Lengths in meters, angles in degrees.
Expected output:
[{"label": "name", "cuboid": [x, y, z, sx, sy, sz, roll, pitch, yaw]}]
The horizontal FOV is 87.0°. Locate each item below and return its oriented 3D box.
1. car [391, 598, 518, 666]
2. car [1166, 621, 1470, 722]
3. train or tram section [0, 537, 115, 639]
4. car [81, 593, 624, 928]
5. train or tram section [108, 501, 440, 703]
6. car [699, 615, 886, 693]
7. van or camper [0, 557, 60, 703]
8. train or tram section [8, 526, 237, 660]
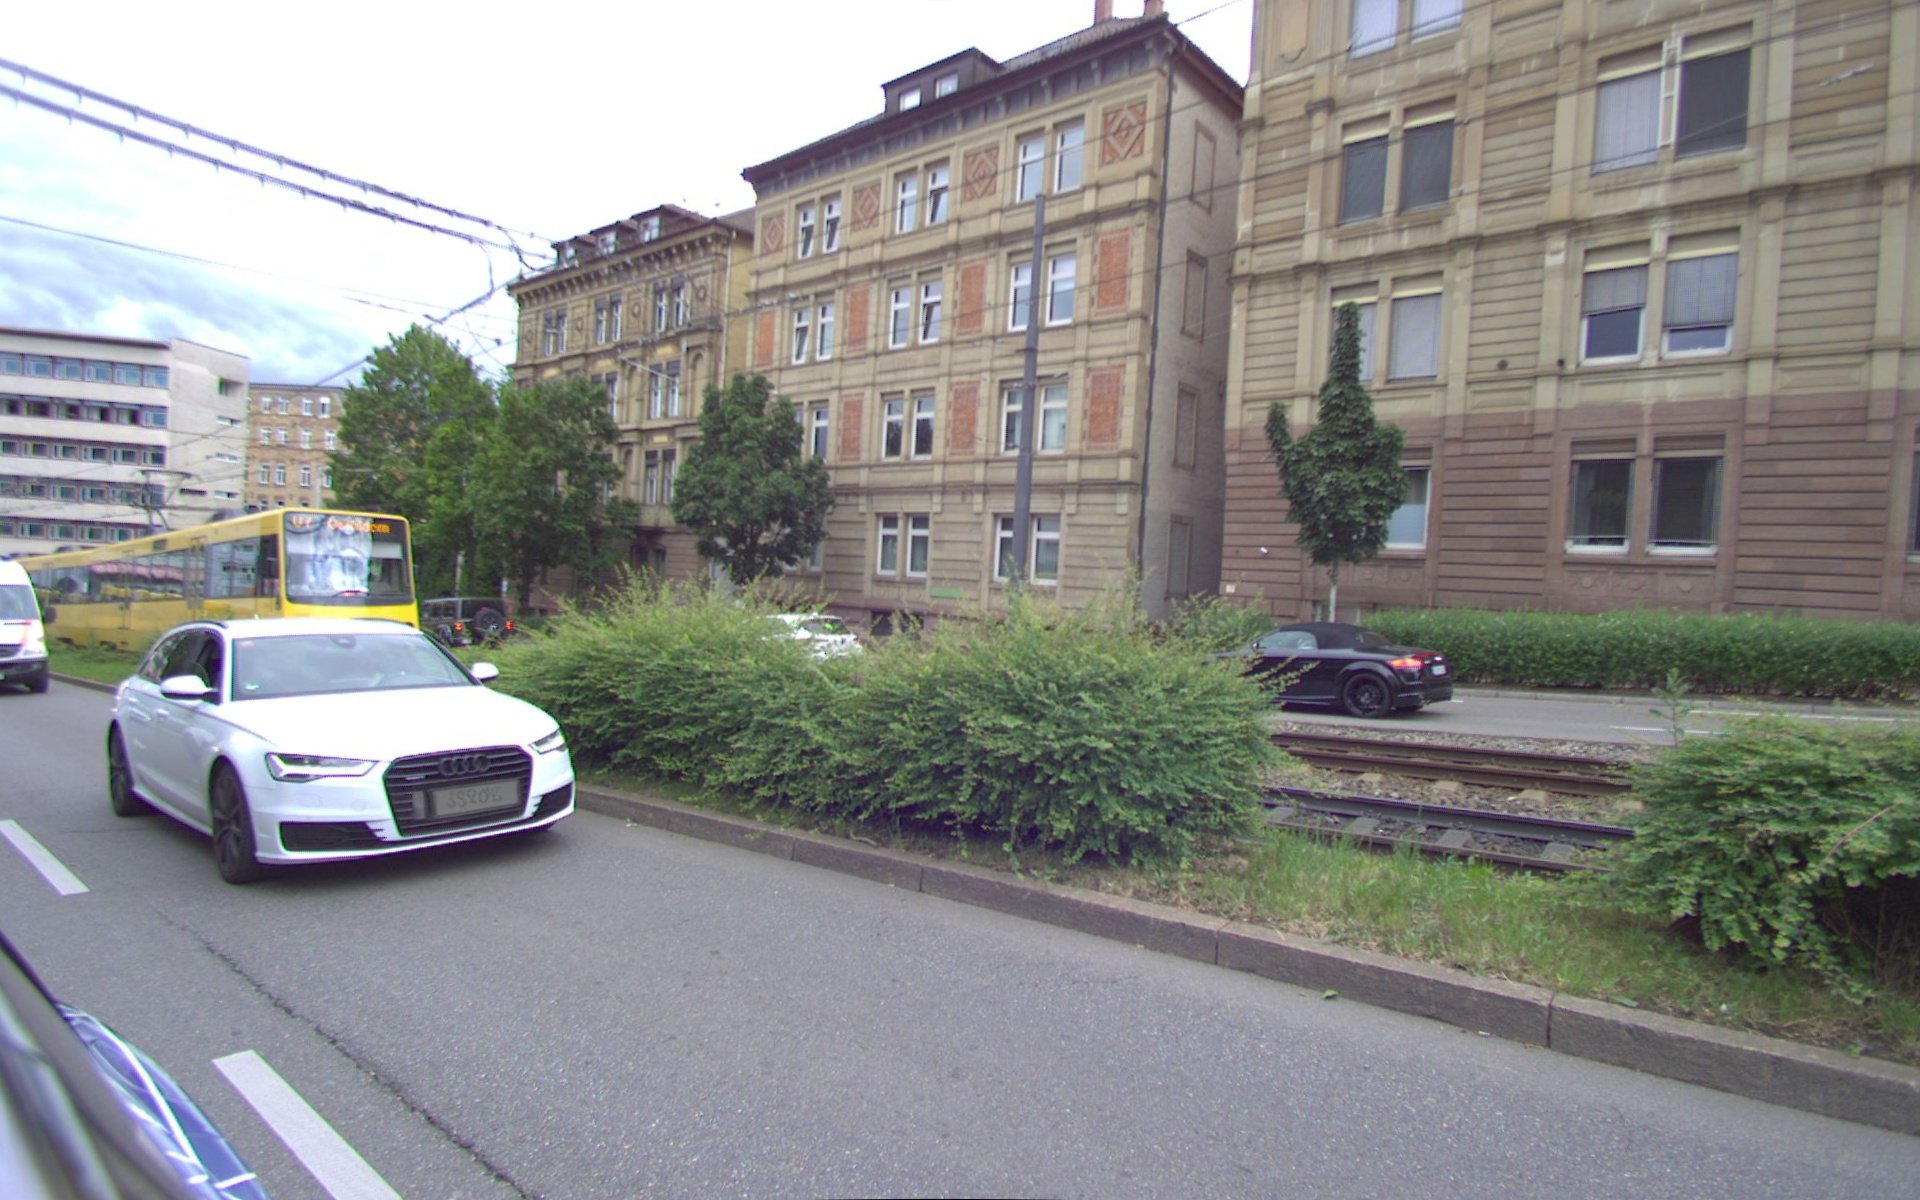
[{"label": "car", "cuboid": [-15.363, 0.918, 30.675, 4.642, 1.890, 1.879, 0, -1, 43]}, {"label": "car", "cuboid": [5.390, 1.000, 15.597, 4.068, 1.332, 1.720, -1, -1, 45]}, {"label": "train or tram section", "cuboid": [-39.591, -0.553, 41.822, 14.182, 3.691, 2.860, 1, 2, 32]}, {"label": "car", "cuboid": [-4.384, 0.745, 6.973, 4.528, 1.486, 1.873, 2, 2, 41]}, {"label": "train or tram section", "cuboid": [-17.060, -0.107, 24.300, 14.467, 3.691, 2.852, 1, 2, 41]}, {"label": "car", "cuboid": [-3.647, 1.121, 21.613, 4.063, 1.499, 1.722, -2, -2, 40]}, {"label": "van or camper", "cuboid": [-19.630, 0.450, 19.840, 6.371, 2.577, 2.180, 2, 3, 41]}, {"label": "train or tram section", "cuboid": [-28.045, -0.305, 33.436, 14.210, 3.691, 2.854, 1, 1, 38]}]
